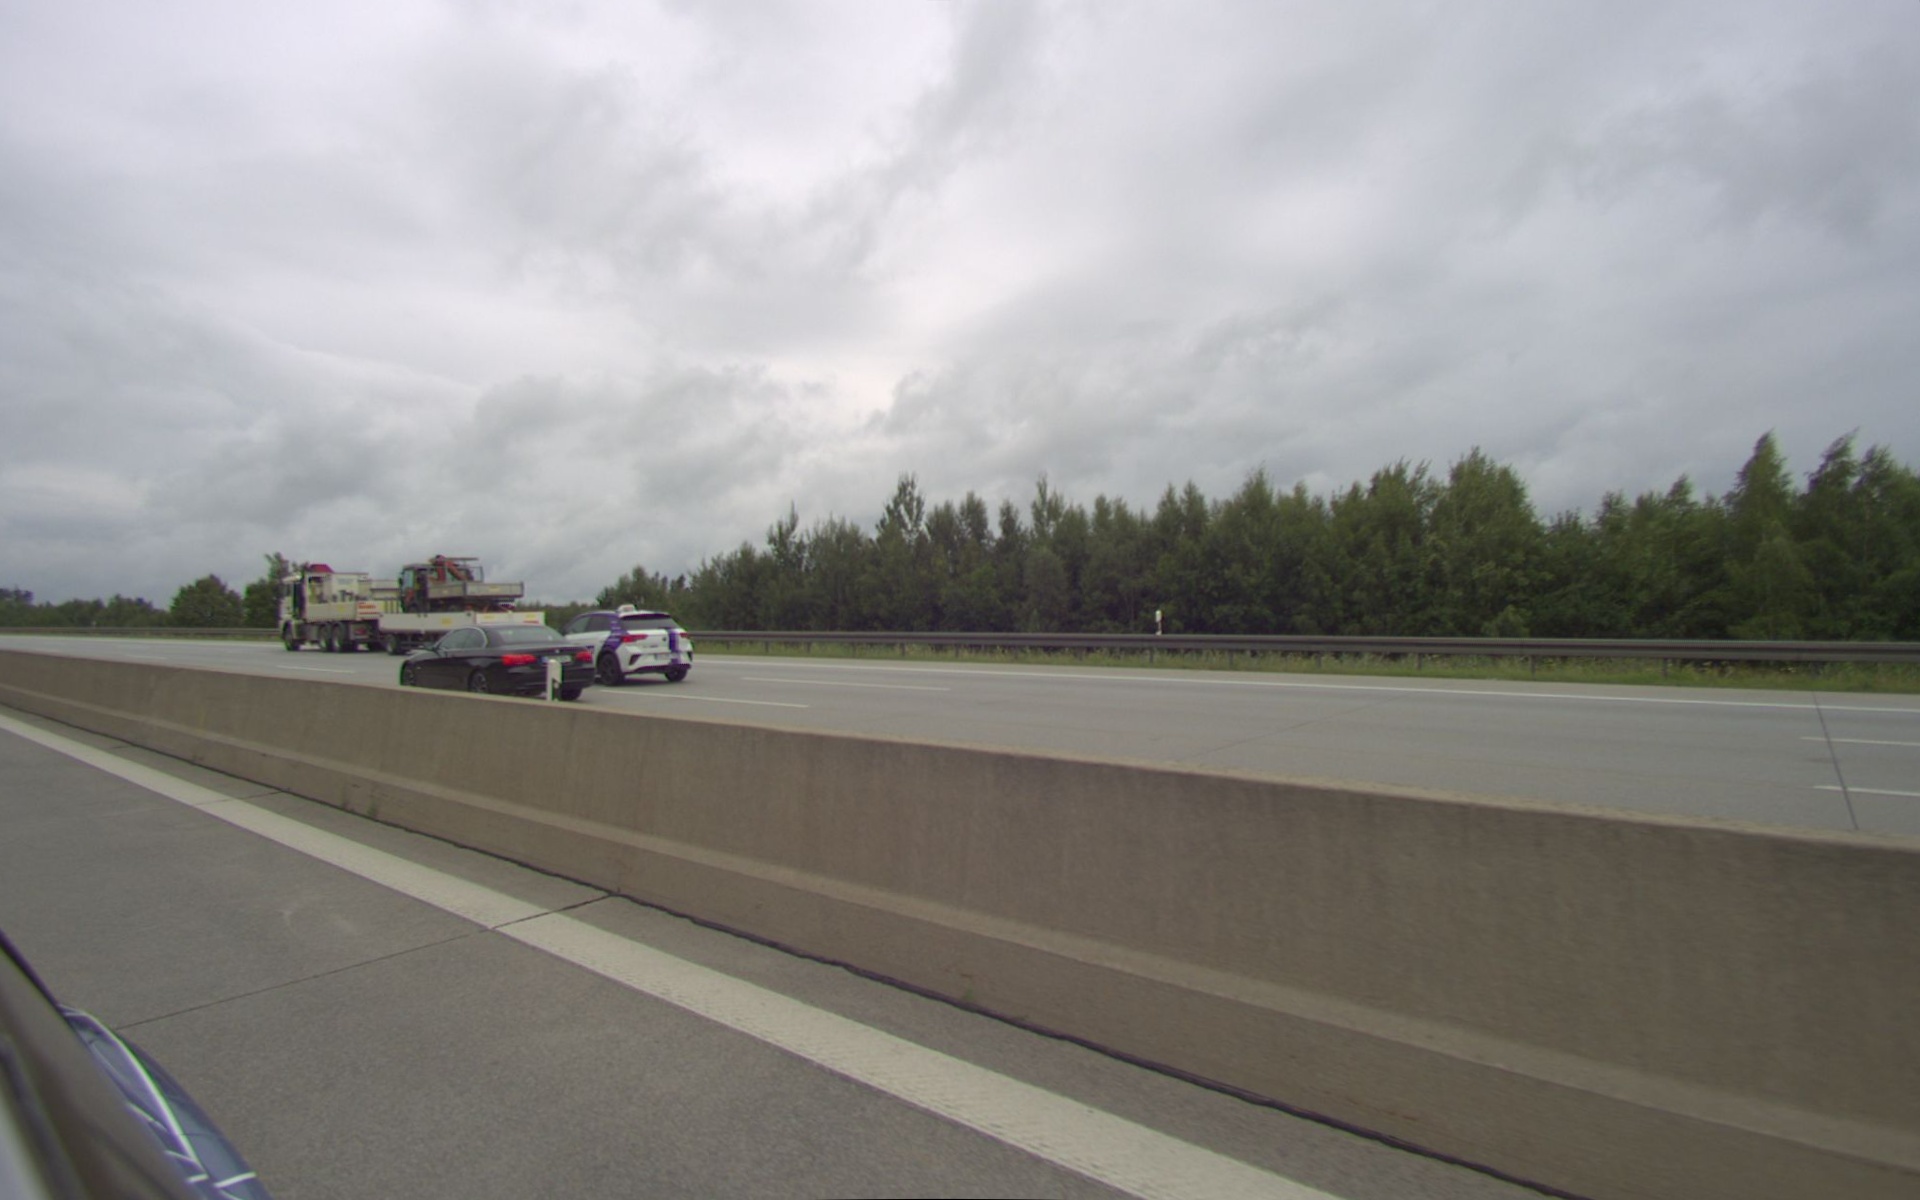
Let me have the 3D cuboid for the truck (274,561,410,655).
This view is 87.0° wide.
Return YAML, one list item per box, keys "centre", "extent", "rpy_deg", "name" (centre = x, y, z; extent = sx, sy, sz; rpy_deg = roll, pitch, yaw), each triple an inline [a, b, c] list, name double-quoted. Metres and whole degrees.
- centre: [-26.528, 0.401, 43.270]
  extent: [7.651, 3.680, 2.561]
  rpy_deg: [-2, -1, 39]
  name: "truck"

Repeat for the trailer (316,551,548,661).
- centre: [-20.375, 0.298, 38.312]
  extent: [13.707, 3.569, 2.561]
  rpy_deg: [-1, -1, 39]
  name: "trailer"

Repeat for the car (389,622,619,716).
- centre: [-7.993, 1.115, 17.547]
  extent: [4.488, 1.276, 1.746]
  rpy_deg: [2, -1, 38]
  name: "car"

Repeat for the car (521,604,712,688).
- centre: [-7.509, 0.961, 21.874]
  extent: [4.754, 1.599, 1.744]
  rpy_deg: [-2, 0, 41]
  name: "car"
